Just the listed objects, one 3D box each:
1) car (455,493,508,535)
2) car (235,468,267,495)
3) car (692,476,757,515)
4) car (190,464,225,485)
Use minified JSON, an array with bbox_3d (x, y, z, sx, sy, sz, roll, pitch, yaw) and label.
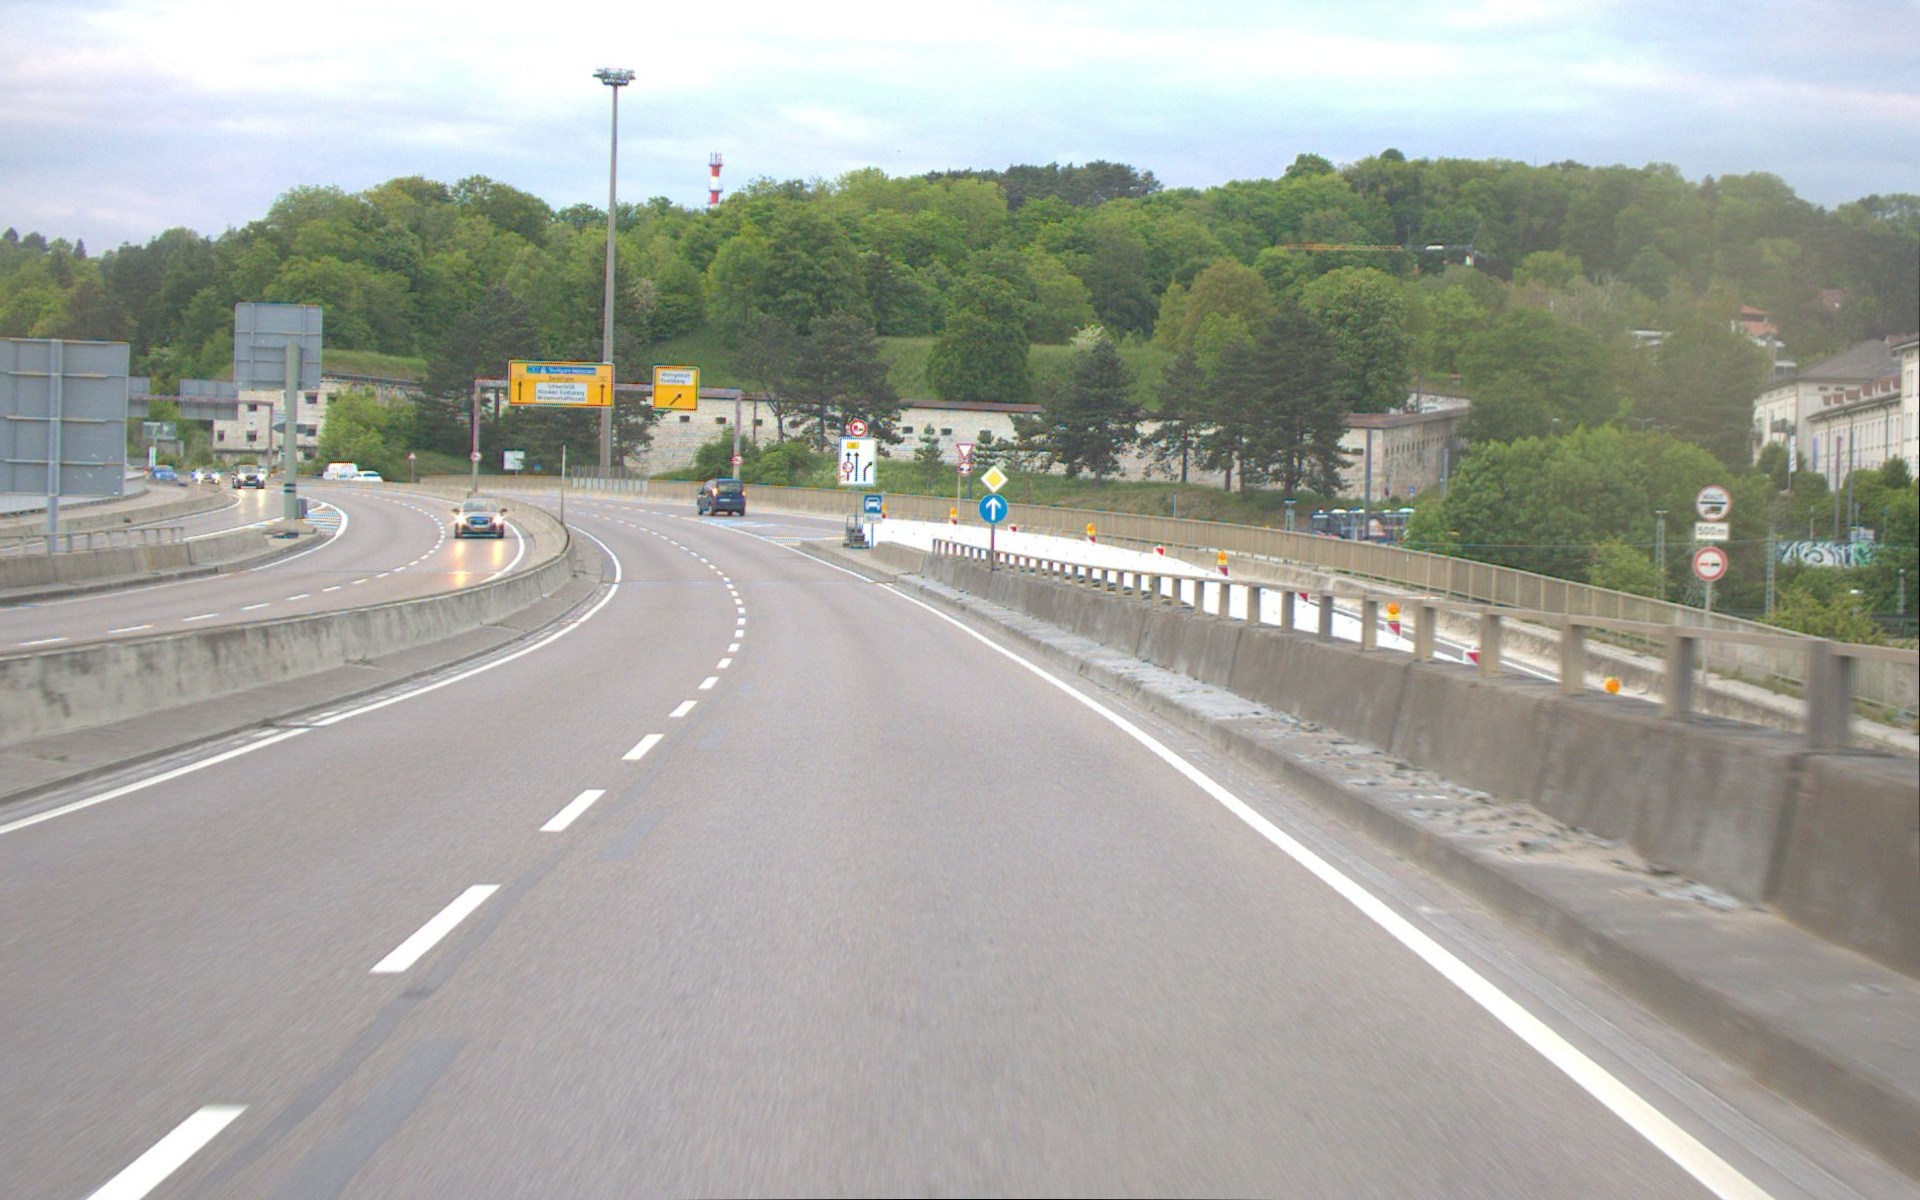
[{"bbox_3d":[-17.474,-3.137,125.689,1.829,1.475,4.288,1,1,-7],"label":"car"},{"bbox_3d":[-48.677,-8.148,235.909,1.636,1.711,4.001,-4,2,-17],"label":"car"},{"bbox_3d":[-11.826,-5.246,172.462,2.304,1.757,4.264,2,2,-17],"label":"car"},{"bbox_3d":[-55.388,-9.248,253.134,1.796,1.481,3.842,1,1,-23],"label":"car"}]
